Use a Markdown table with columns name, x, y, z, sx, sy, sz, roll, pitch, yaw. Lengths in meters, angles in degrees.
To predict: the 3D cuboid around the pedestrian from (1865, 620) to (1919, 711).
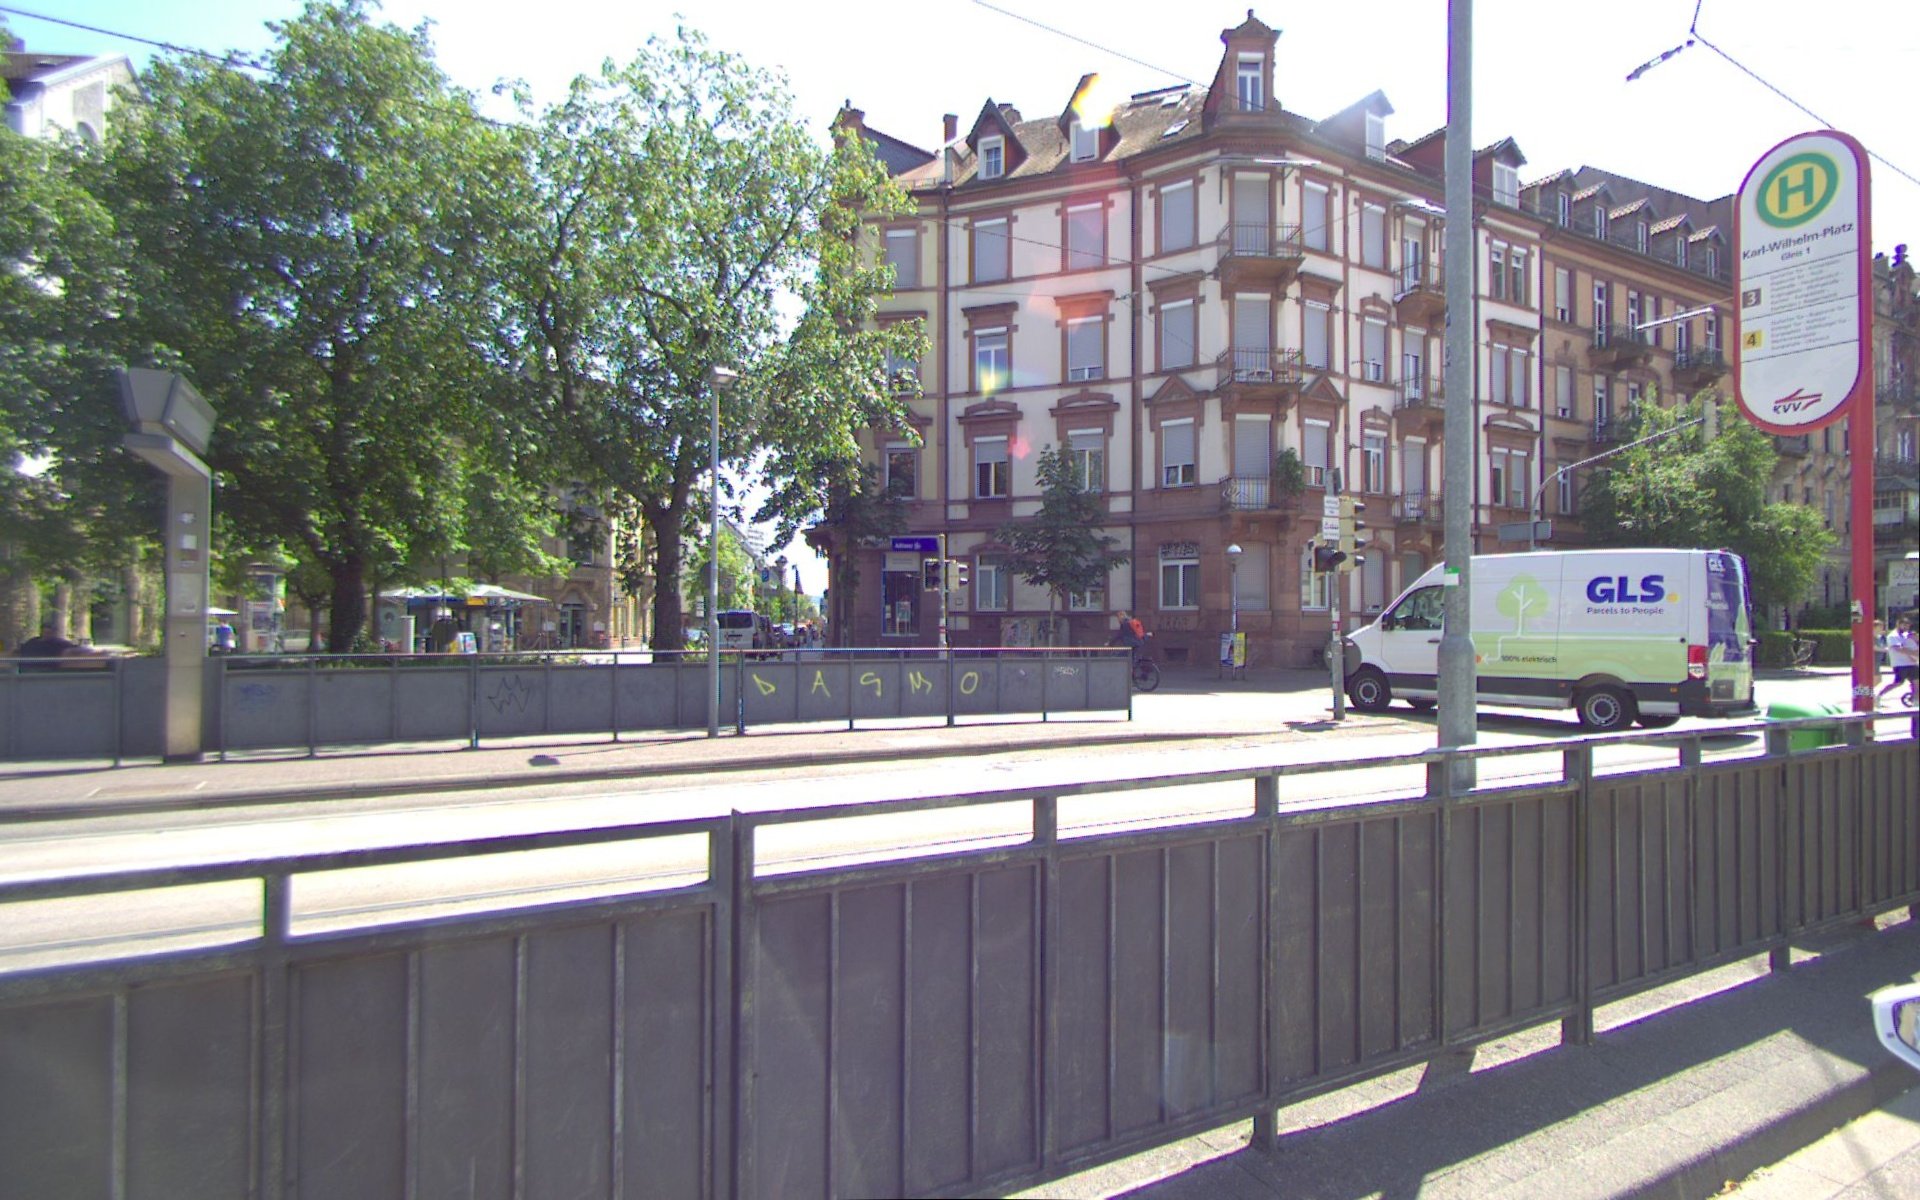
| name | x | y | z | sx | sy | sz | roll | pitch | yaw |
| --- | --- | --- | --- | --- | --- | --- | --- | --- | --- |
| pedestrian | 17.603 | 1.216 | 18.889 | 0.551 | 1.667 | 0.673 | 2 | 0 | -25 |

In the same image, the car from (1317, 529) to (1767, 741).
| name | x | y | z | sx | sy | sz | roll | pitch | yaw |
| --- | --- | --- | --- | --- | --- | --- | --- | --- | --- |
| car | 8.832 | 0.518 | 15.873 | 2.253 | 2.708 | 5.768 | 2 | -2 | -36 |

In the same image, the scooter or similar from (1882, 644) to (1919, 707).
| name | x | y | z | sx | sy | sz | roll | pitch | yaw |
| --- | --- | --- | --- | --- | --- | --- | --- | --- | --- |
| scooter or similar | 18.474 | 1.447 | 19.133 | 0.551 | 1.170 | 1.198 | 2 | 0 | -24 |

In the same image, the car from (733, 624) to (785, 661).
| name | x | y | z | sx | sy | sz | roll | pitch | yaw |
| --- | --- | --- | --- | --- | --- | --- | --- | --- | --- |
| car | -9.625 | 2.016 | 48.287 | 1.893 | 1.541 | 3.998 | 2 | 0 | -4 |

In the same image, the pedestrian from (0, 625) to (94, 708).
| name | x | y | z | sx | sy | sz | roll | pitch | yaw |
| --- | --- | --- | --- | --- | --- | --- | --- | --- | --- |
| pedestrian | -14.660 | 1.050 | 16.104 | 0.925 | 1.261 | 0.860 | 2 | 0 | -24 |

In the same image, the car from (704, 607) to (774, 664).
| name | x | y | z | sx | sy | sz | roll | pitch | yaw |
| --- | --- | --- | --- | --- | --- | --- | --- | --- | --- |
| car | -8.328 | 1.304 | 38.216 | 1.962 | 1.970 | 3.998 | 2 | 0 | -4 |

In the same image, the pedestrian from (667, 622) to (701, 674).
| name | x | y | z | sx | sy | sz | roll | pitch | yaw |
| --- | --- | --- | --- | --- | --- | --- | --- | --- | --- |
| pedestrian | -9.230 | 1.606 | 33.645 | 1.043 | 1.712 | 0.721 | 0 | -1 | -12 |

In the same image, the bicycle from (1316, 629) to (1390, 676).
| name | x | y | z | sx | sy | sz | roll | pitch | yaw |
| --- | --- | --- | --- | --- | --- | --- | --- | --- | --- |
| bicycle | 11.665 | 1.559 | 29.861 | 1.923 | 1.312 | 0.564 | 2 | 0 | 11 |

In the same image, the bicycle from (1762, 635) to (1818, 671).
| name | x | y | z | sx | sy | sz | roll | pitch | yaw |
| --- | --- | --- | --- | --- | --- | --- | --- | --- | --- |
| bicycle | 28.512 | 1.800 | 34.501 | 2.750 | 1.151 | 0.930 | 2 | 0 | -39 |

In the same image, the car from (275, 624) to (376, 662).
| name | x | y | z | sx | sy | sz | roll | pitch | yaw |
| --- | --- | --- | --- | --- | --- | --- | --- | --- | --- |
| car | -32.076 | 2.169 | 50.889 | 3.920 | 1.730 | 1.761 | 2 | 0 | -14 |

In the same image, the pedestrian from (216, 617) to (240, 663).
| name | x | y | z | sx | sy | sz | roll | pitch | yaw |
| --- | --- | --- | --- | --- | --- | --- | --- | --- | --- |
| pedestrian | -27.262 | 1.487 | 37.413 | 0.506 | 1.692 | 0.491 | 0 | -1 | -8 |

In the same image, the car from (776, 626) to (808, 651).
| name | x | y | z | sx | sy | sz | roll | pitch | yaw |
| --- | --- | --- | --- | --- | --- | --- | --- | --- | --- |
| car | -12.483 | 2.850 | 74.756 | 1.962 | 1.617 | 3.998 | 2 | 0 | -4 |

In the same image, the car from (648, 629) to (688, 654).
| name | x | y | z | sx | sy | sz | roll | pitch | yaw |
| --- | --- | --- | --- | --- | --- | --- | --- | --- | --- |
| car | -20.659 | 2.925 | 71.162 | 1.846 | 1.617 | 3.998 | 2 | 0 | -4 |

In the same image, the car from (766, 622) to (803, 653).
| name | x | y | z | sx | sy | sz | roll | pitch | yaw |
| --- | --- | --- | --- | --- | --- | --- | --- | --- | --- |
| car | -10.373 | 2.183 | 59.452 | 1.684 | 1.617 | 3.998 | 2 | 0 | -4 |

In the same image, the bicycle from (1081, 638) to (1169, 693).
| name | x | y | z | sx | sy | sz | roll | pitch | yaw |
| --- | --- | --- | --- | --- | --- | --- | --- | --- | --- |
| bicycle | 3.857 | 1.505 | 23.532 | 1.892 | 1.188 | 0.647 | 1 | -1 | 31 |

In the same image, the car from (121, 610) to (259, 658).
| name | x | y | z | sx | sy | sz | roll | pitch | yaw |
| --- | --- | --- | --- | --- | --- | --- | --- | --- | --- |
| car | -31.189 | 1.377 | 40.814 | 3.932 | 1.814 | 1.994 | 2 | 0 | -14 |

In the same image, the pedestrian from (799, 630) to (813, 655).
| name | x | y | z | sx | sy | sz | roll | pitch | yaw |
| --- | --- | --- | --- | --- | --- | --- | --- | --- | --- |
| pedestrian | -9.960 | 2.748 | 65.020 | 0.790 | 1.632 | 0.731 | 0 | -1 | -4 |

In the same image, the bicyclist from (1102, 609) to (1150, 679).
| name | x | y | z | sx | sy | sz | roll | pitch | yaw |
| --- | --- | --- | --- | --- | --- | --- | --- | --- | --- |
| bicyclist | 3.862 | 1.012 | 23.399 | 0.882 | 1.582 | 0.721 | 1 | -1 | 29 |

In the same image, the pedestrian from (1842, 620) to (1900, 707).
| name | x | y | z | sx | sy | sz | roll | pitch | yaw |
| --- | --- | --- | --- | --- | --- | --- | --- | --- | --- |
| pedestrian | 18.109 | 1.245 | 19.971 | 0.551 | 1.667 | 0.673 | 2 | 0 | -25 |
